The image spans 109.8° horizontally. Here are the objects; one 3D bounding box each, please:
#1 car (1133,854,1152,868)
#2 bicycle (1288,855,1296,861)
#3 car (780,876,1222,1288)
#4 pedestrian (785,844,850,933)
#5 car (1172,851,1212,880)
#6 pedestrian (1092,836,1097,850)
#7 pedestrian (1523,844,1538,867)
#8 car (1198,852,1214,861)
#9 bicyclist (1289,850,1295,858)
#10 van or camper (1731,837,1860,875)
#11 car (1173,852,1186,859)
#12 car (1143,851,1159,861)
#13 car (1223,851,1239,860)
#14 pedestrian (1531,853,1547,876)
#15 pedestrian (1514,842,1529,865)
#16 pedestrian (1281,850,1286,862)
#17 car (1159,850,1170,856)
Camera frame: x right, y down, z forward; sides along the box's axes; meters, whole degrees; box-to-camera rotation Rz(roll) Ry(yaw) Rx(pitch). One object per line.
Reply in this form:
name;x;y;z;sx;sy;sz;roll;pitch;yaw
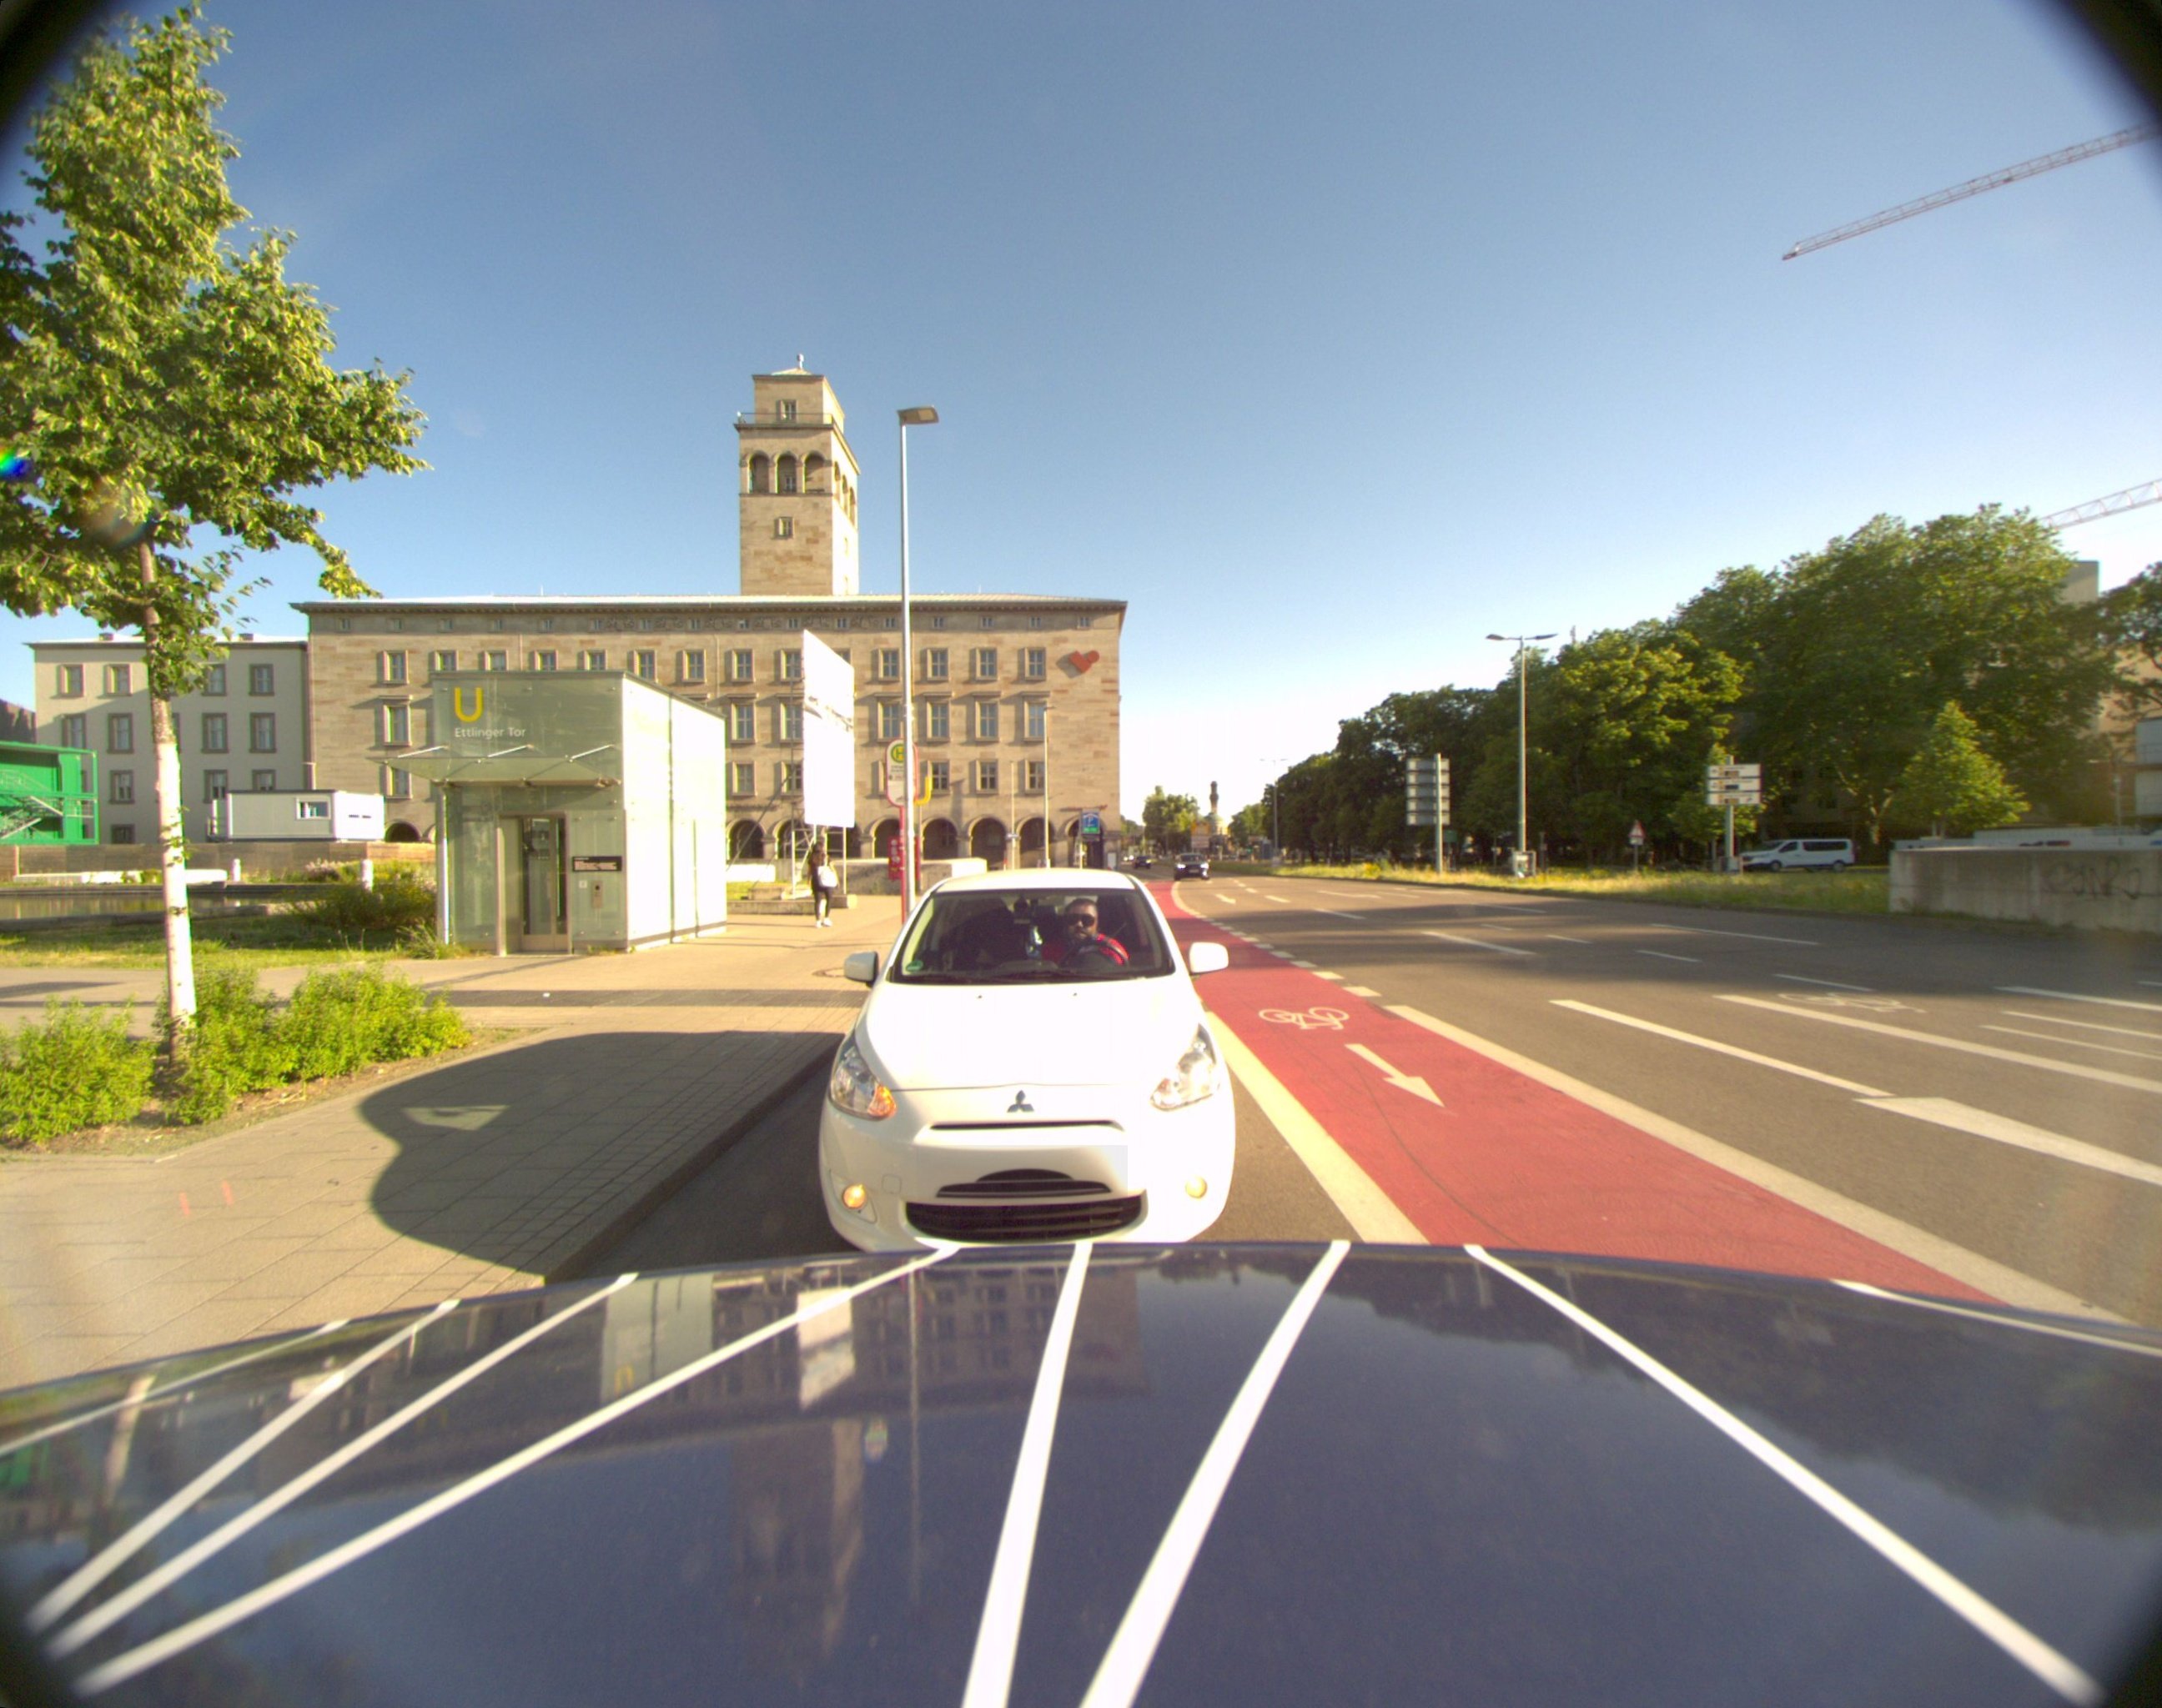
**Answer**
car;7.596;0.811;94.629;1.999;1.709;4.325;-1;0;0
bicycle;31.231;0.594;112.389;0.610;0.838;1.745;-1;0;-1
car;-0.229;0.958;4.908;1.678;1.440;3.889;-2;0;3
pedestrian;-5.428;0.694;15.718;0.942;1.776;1.072;0;1;1
car;6.666;0.643;45.891;1.937;1.634;4.617;-1;0;3
pedestrian;1.775;-1.448;100.077;0.704;1.843;0.828;-1;1;0
pedestrian;33.623;0.123;56.870;0.665;1.715;0.762;-1;1;1
car;21.235;0.382;129.056;1.872;1.390;3.999;-1;0;-1
bicyclist;31.225;0.017;112.378;0.610;1.274;0.715;-1;1;-1
van or camper;42.301;0.083;45.078;5.649;2.002;1.948;-2;1;2
car;19.164;0.229;147.431;1.873;1.390;3.999;-1;0;-1
car;10.959;0.290;119.510;1.998;1.398;4.488;-2;0;1
car;26.303;0.262;133.368;1.998;1.499;4.000;-1;0;2
pedestrian;34.288;0.796;56.857;0.707;1.715;0.762;-1;1;1
pedestrian;32.880;-0.034;56.753;0.707;1.715;0.762;-1;1;1
pedestrian;31.762;0.321;119.307;0.627;1.837;0.925;-1;1;6
car;18.921;-0.207;172.303;1.873;1.390;3.999;-1;0;-2
